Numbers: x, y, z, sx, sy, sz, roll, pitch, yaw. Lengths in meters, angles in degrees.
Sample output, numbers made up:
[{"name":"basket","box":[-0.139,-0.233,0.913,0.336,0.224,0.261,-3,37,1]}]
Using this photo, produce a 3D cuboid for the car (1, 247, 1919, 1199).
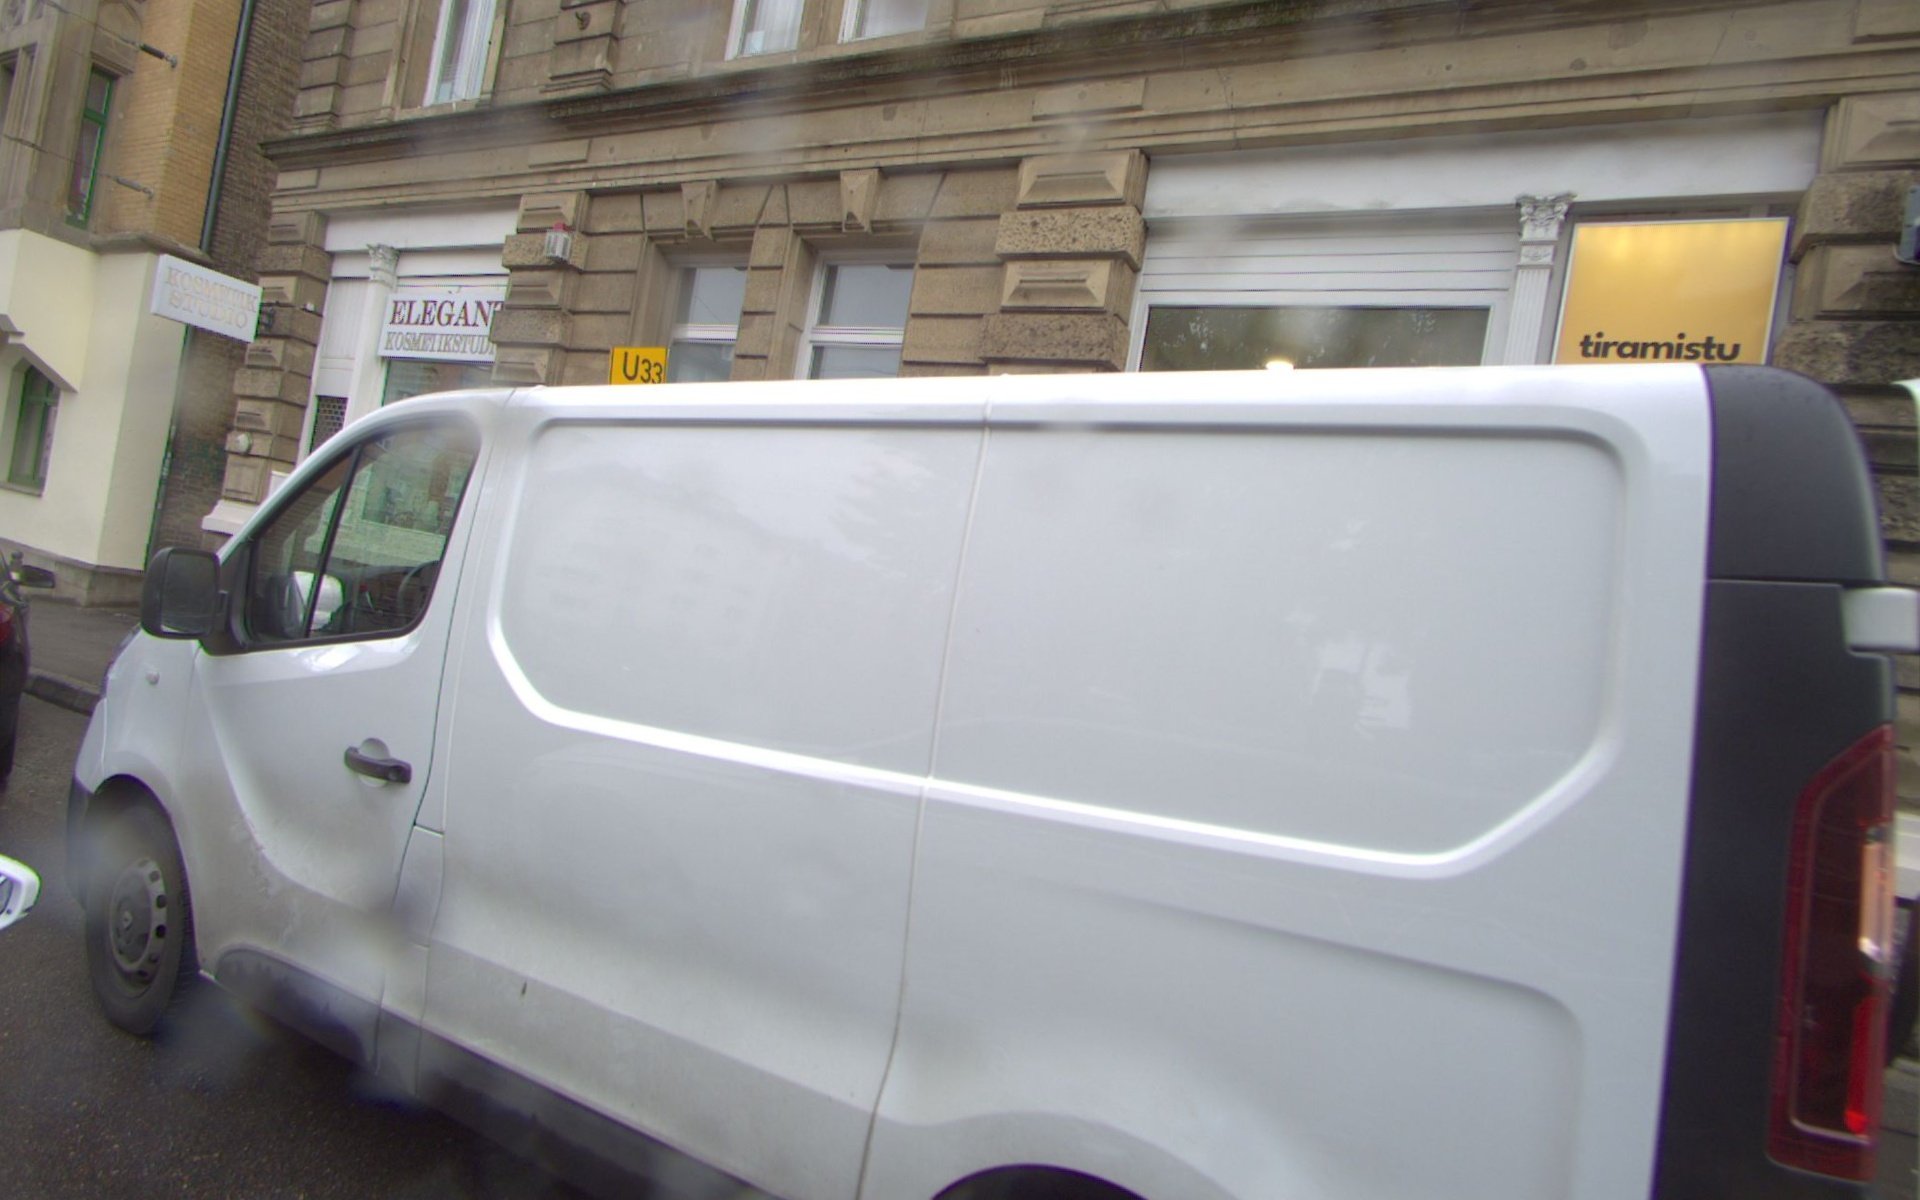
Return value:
[{"name":"car","box":[-0.456,0.503,2.888,4.605,1.958,1.926,7,-2,30]}]

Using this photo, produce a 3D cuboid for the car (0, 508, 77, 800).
[{"name":"car","box":[-6.505,0.051,5.867,1.889,1.406,3.953,10,-3,-42]}]
